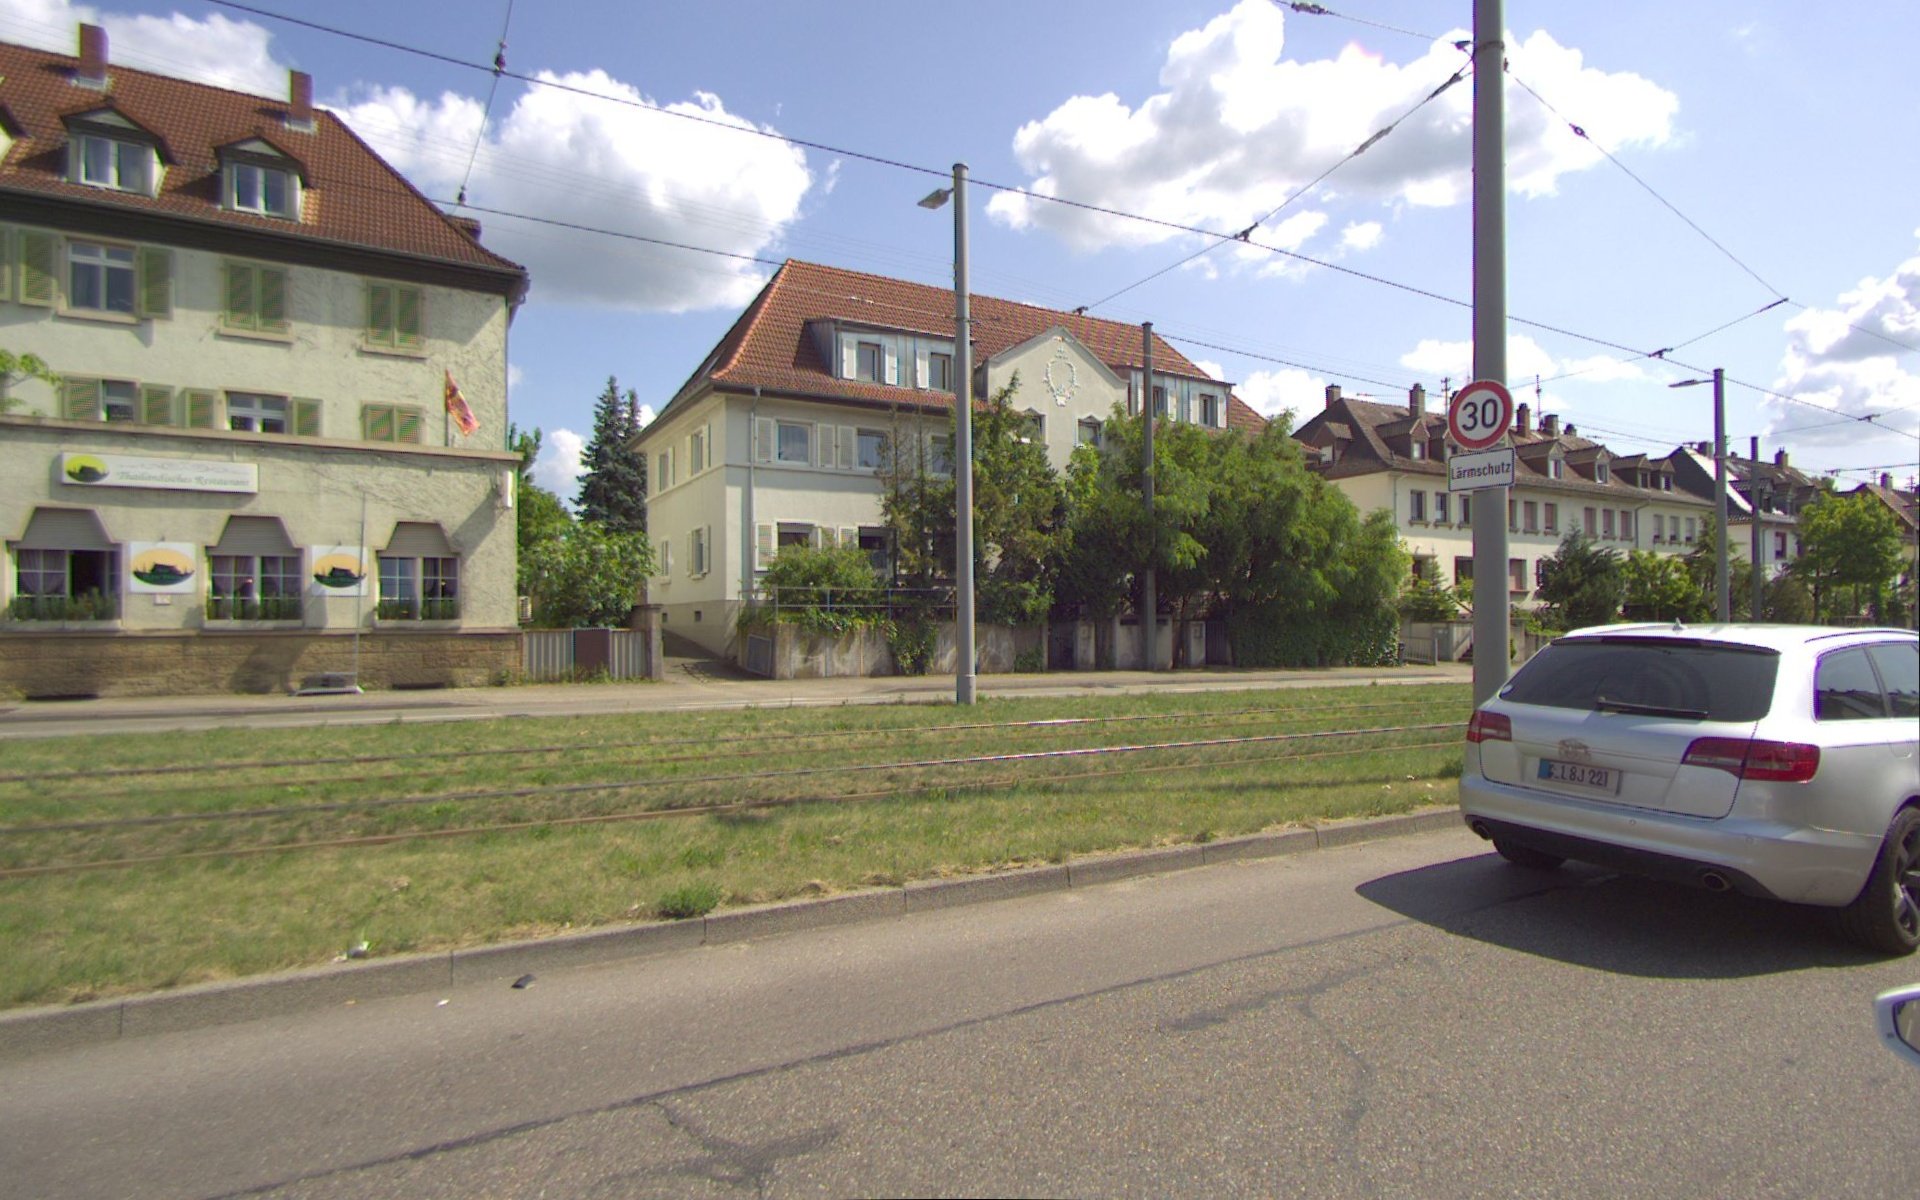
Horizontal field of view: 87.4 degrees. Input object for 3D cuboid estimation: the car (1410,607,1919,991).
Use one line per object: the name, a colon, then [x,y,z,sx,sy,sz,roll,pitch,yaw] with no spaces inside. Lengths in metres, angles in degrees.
car: [4.904,0.836,5.872,4.667,1.491,1.786,2,-1,-30]
